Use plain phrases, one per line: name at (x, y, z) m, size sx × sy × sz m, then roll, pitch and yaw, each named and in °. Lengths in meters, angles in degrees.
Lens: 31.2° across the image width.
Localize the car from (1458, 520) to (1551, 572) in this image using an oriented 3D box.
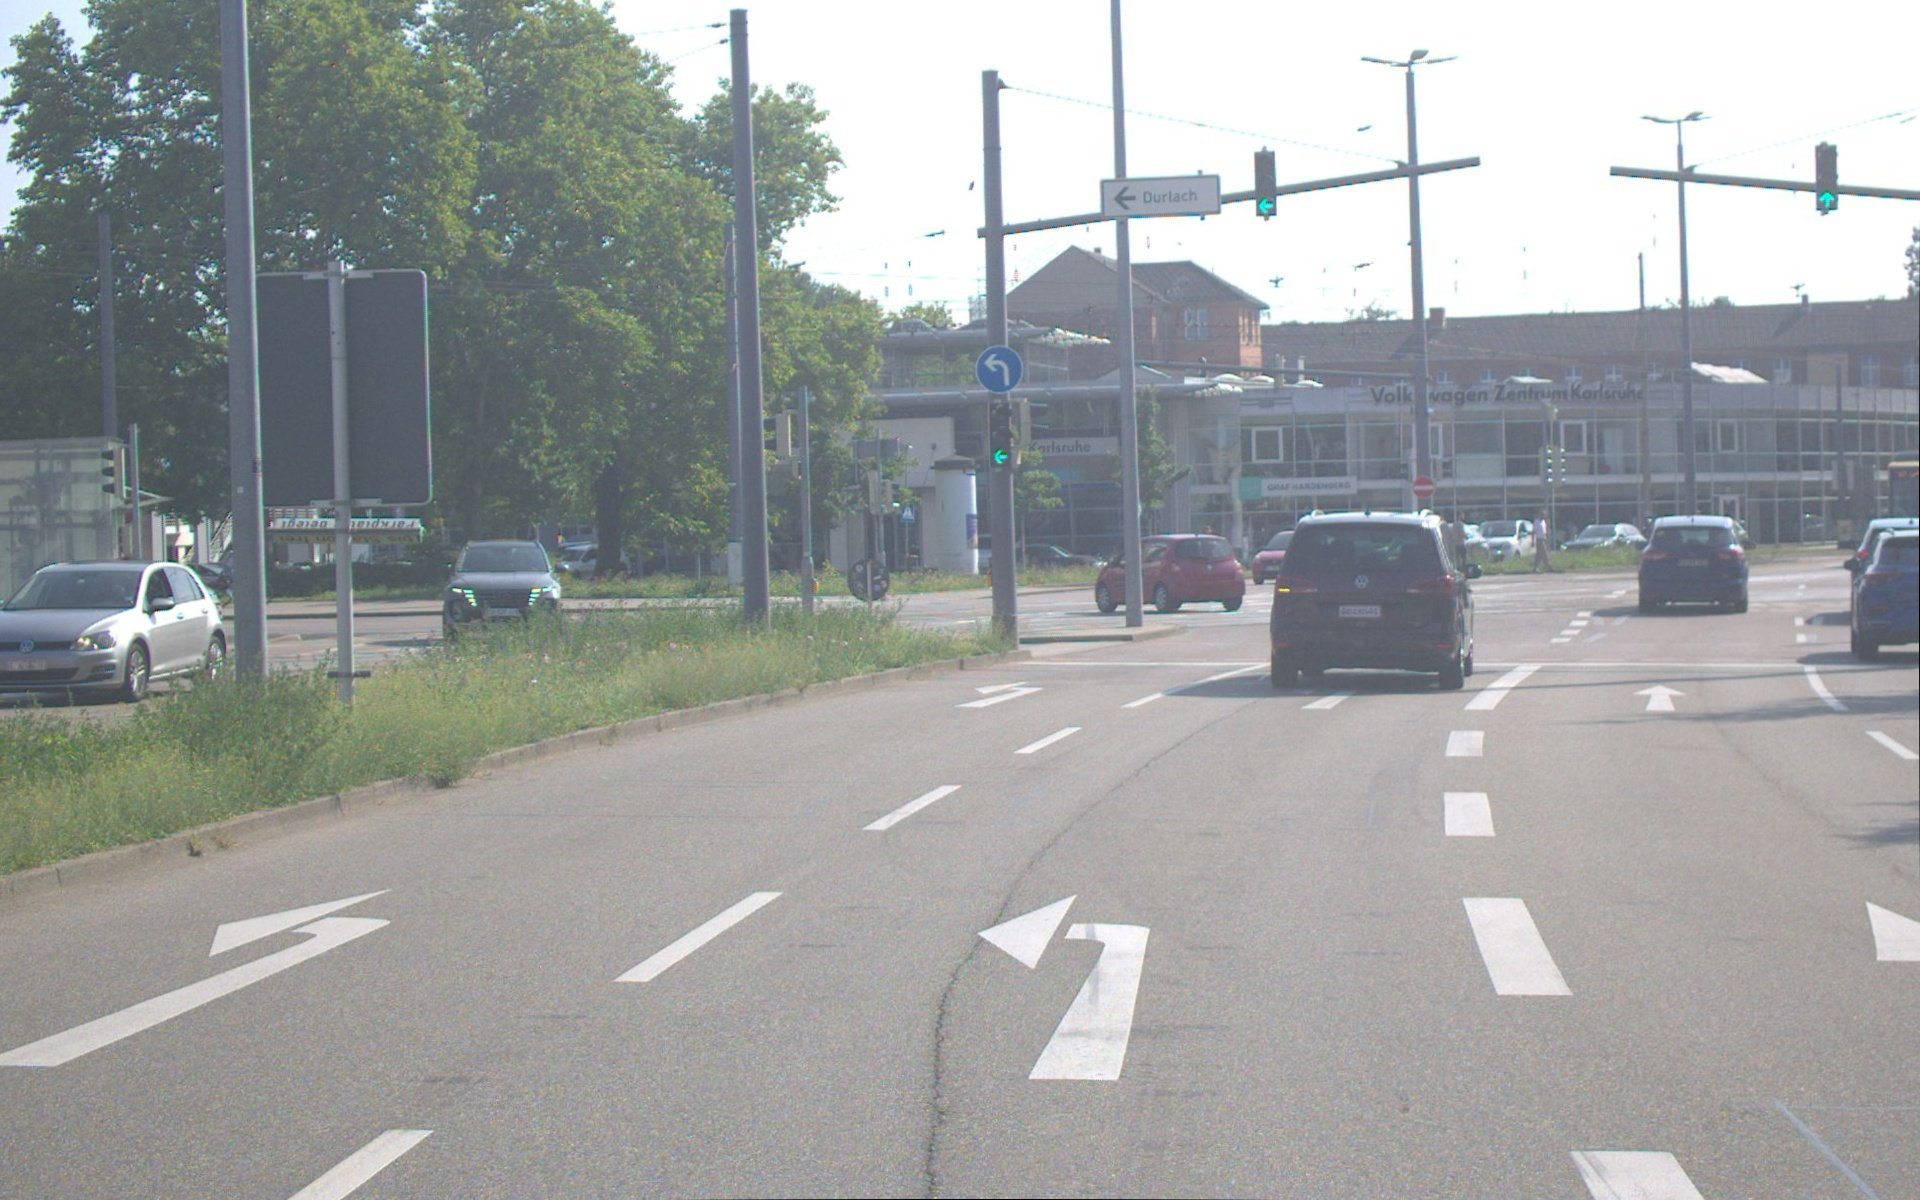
car at (16.496, -1.648, 104.107) m, size 1.616 × 1.470 × 3.995 m, roll -3°, pitch 0°, yaw 26°

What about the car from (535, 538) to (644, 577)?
car at (-15.406, -1.773, 143.101) m, size 1.704 × 1.517 × 4.504 m, roll 0°, pitch 1°, yaw 42°

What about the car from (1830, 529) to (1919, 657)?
car at (11.604, -0.130, 41.464) m, size 1.826 × 1.423 × 4.410 m, roll -1°, pitch 1°, yaw 10°

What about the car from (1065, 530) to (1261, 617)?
car at (3.800, -0.509, 65.139) m, size 1.825 × 1.530 × 4.413 m, roll -2°, pitch 1°, yaw -24°

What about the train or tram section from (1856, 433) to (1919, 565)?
train or tram section at (29.325, -3.013, 101.250) m, size 2.659 × 3.686 × 10.571 m, roll -1°, pitch 1°, yaw 31°

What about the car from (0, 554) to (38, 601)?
car at (-29.391, -0.640, 101.237) m, size 4.155 × 1.349 × 1.578 m, roll -1°, pitch 1°, yaw -8°

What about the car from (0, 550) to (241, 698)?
car at (-9.121, 0.214, 36.402) m, size 1.814 × 1.428 × 4.224 m, roll -1°, pitch 1°, yaw 4°

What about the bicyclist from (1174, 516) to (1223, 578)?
bicyclist at (6.747, -1.496, 97.216) m, size 0.959 × 1.742 × 1.164 m, roll 0°, pitch 1°, yaw 27°

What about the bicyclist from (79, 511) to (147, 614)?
bicyclist at (-13.716, -0.614, 55.693) m, size 0.881 × 1.646 × 0.726 m, roll -1°, pitch 1°, yaw 0°

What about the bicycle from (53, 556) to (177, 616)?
bicycle at (-13.685, -0.227, 55.698) m, size 1.812 × 0.929 × 0.726 m, roll -1°, pitch 1°, yaw 0°

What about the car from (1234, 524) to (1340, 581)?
car at (9.234, -1.345, 96.871) m, size 1.616 × 1.470 × 3.995 m, roll -3°, pitch 0°, yaw 26°

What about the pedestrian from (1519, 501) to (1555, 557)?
pedestrian at (15.754, -1.942, 93.791) m, size 0.778 × 1.498 × 0.709 m, roll -1°, pitch 1°, yaw 26°

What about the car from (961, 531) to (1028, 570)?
car at (1.393, -1.987, 138.131) m, size 1.701 × 1.517 × 4.097 m, roll -1°, pitch 1°, yaw 15°

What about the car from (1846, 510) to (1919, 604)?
car at (15.260, -0.733, 55.444) m, size 1.826 × 1.423 × 4.409 m, roll -1°, pitch 1°, yaw 14°

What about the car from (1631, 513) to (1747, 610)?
car at (12.371, -0.687, 58.478) m, size 1.826 × 1.530 × 4.410 m, roll -1°, pitch 1°, yaw 11°

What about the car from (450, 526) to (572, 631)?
car at (-7.318, -0.372, 56.332) m, size 1.693 × 1.612 × 4.462 m, roll -1°, pitch 1°, yaw -4°

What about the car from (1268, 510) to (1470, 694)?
car at (4.143, -0.041, 34.340) m, size 1.826 × 1.708 × 4.411 m, roll 0°, pitch 1°, yaw 9°
